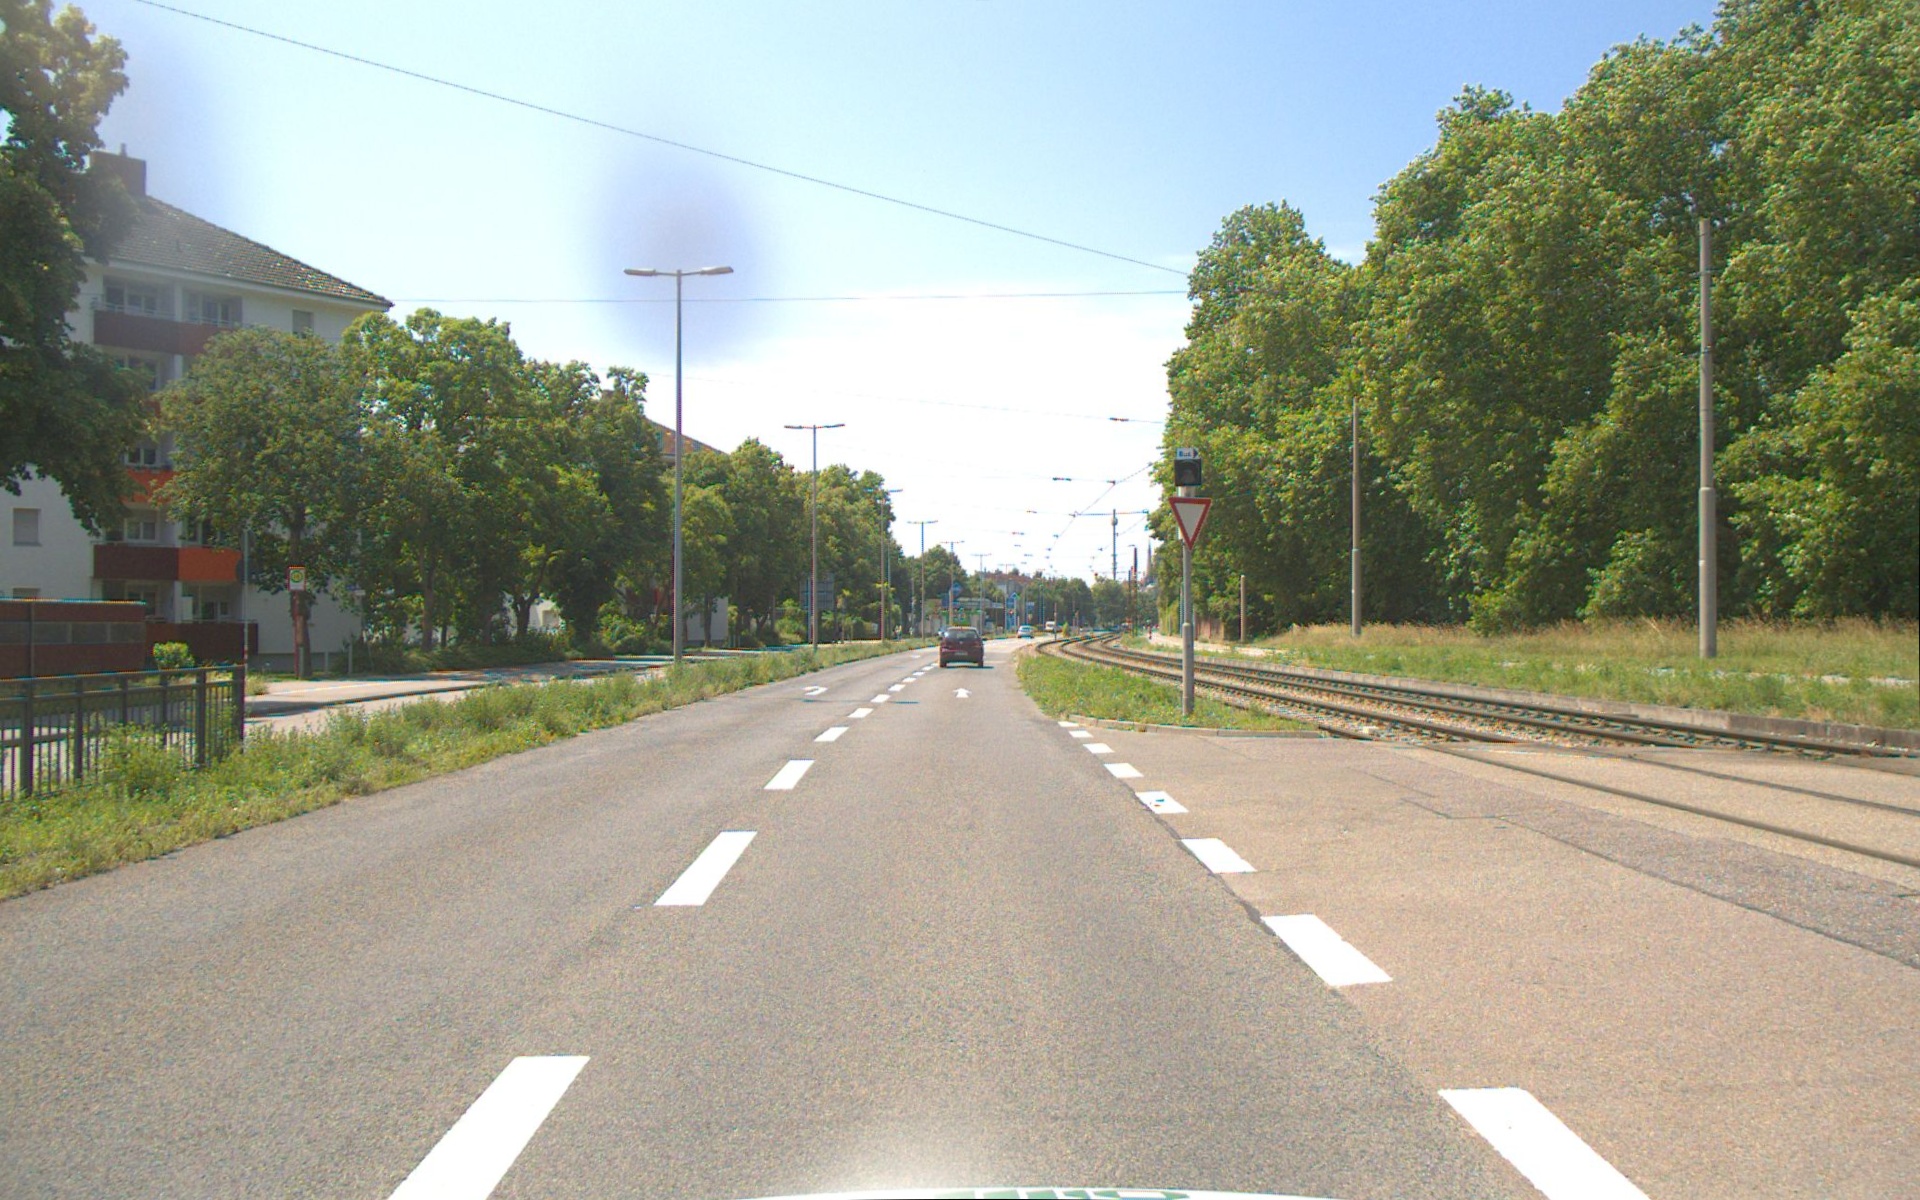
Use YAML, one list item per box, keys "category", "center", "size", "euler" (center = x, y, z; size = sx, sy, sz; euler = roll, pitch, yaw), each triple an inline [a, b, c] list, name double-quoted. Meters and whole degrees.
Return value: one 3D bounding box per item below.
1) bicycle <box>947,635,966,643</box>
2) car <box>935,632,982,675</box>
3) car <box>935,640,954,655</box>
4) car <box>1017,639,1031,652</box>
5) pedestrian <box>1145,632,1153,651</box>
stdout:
- category: "bicycle"
  center: [-0.495, 5.558, 236.474]
  size: [2.502, 1.056, 1.086]
  euler: [1, -2, -8]
- category: "car"
  center: [-0.075, 2.003, 61.616]
  size: [1.668, 1.503, 3.715]
  euler: [1, -2, 0]
- category: "car"
  center: [-1.709, 5.397, 187.189]
  size: [1.883, 1.654, 4.757]
  euler: [-2, -2, 2]
- category: "car"
  center: [7.700, 5.503, 199.466]
  size: [1.668, 1.507, 3.716]
  euler: [3, -2, 2]
- category: "pedestrian"
  center: [16.927, 3.721, 148.112]
  size: [0.647, 1.757, 0.817]
  euler: [-1, -2, 5]
